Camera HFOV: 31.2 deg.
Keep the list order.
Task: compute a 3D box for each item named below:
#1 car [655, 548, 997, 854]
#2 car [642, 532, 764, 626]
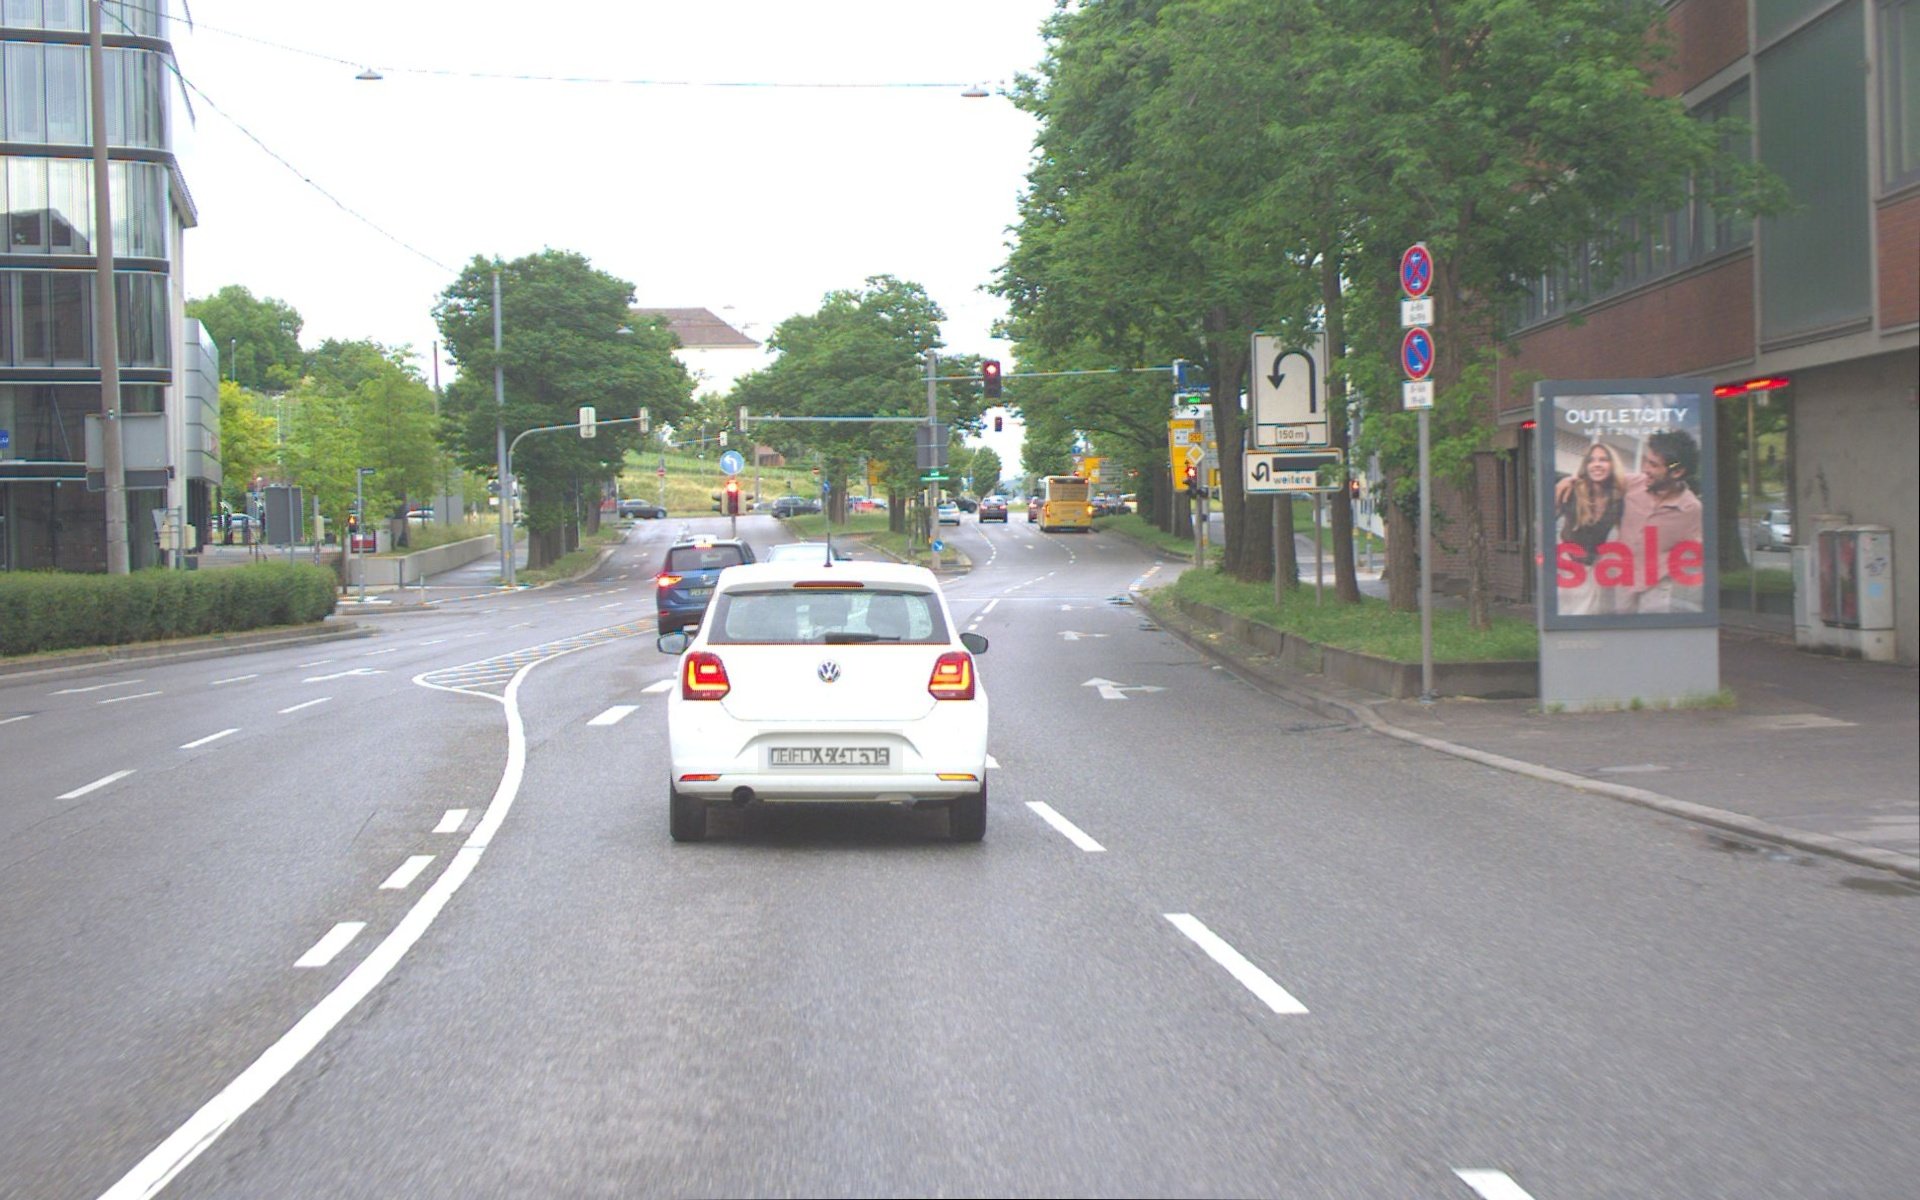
[{"bbox_3d":[-0.764,0.469,18.914,1.671,1.469,3.780,-1,1,-3],"label":"car"},{"bbox_3d":[-4.497,-0.399,60.658,1.993,1.568,4.001,-1,1,-2],"label":"car"}]
